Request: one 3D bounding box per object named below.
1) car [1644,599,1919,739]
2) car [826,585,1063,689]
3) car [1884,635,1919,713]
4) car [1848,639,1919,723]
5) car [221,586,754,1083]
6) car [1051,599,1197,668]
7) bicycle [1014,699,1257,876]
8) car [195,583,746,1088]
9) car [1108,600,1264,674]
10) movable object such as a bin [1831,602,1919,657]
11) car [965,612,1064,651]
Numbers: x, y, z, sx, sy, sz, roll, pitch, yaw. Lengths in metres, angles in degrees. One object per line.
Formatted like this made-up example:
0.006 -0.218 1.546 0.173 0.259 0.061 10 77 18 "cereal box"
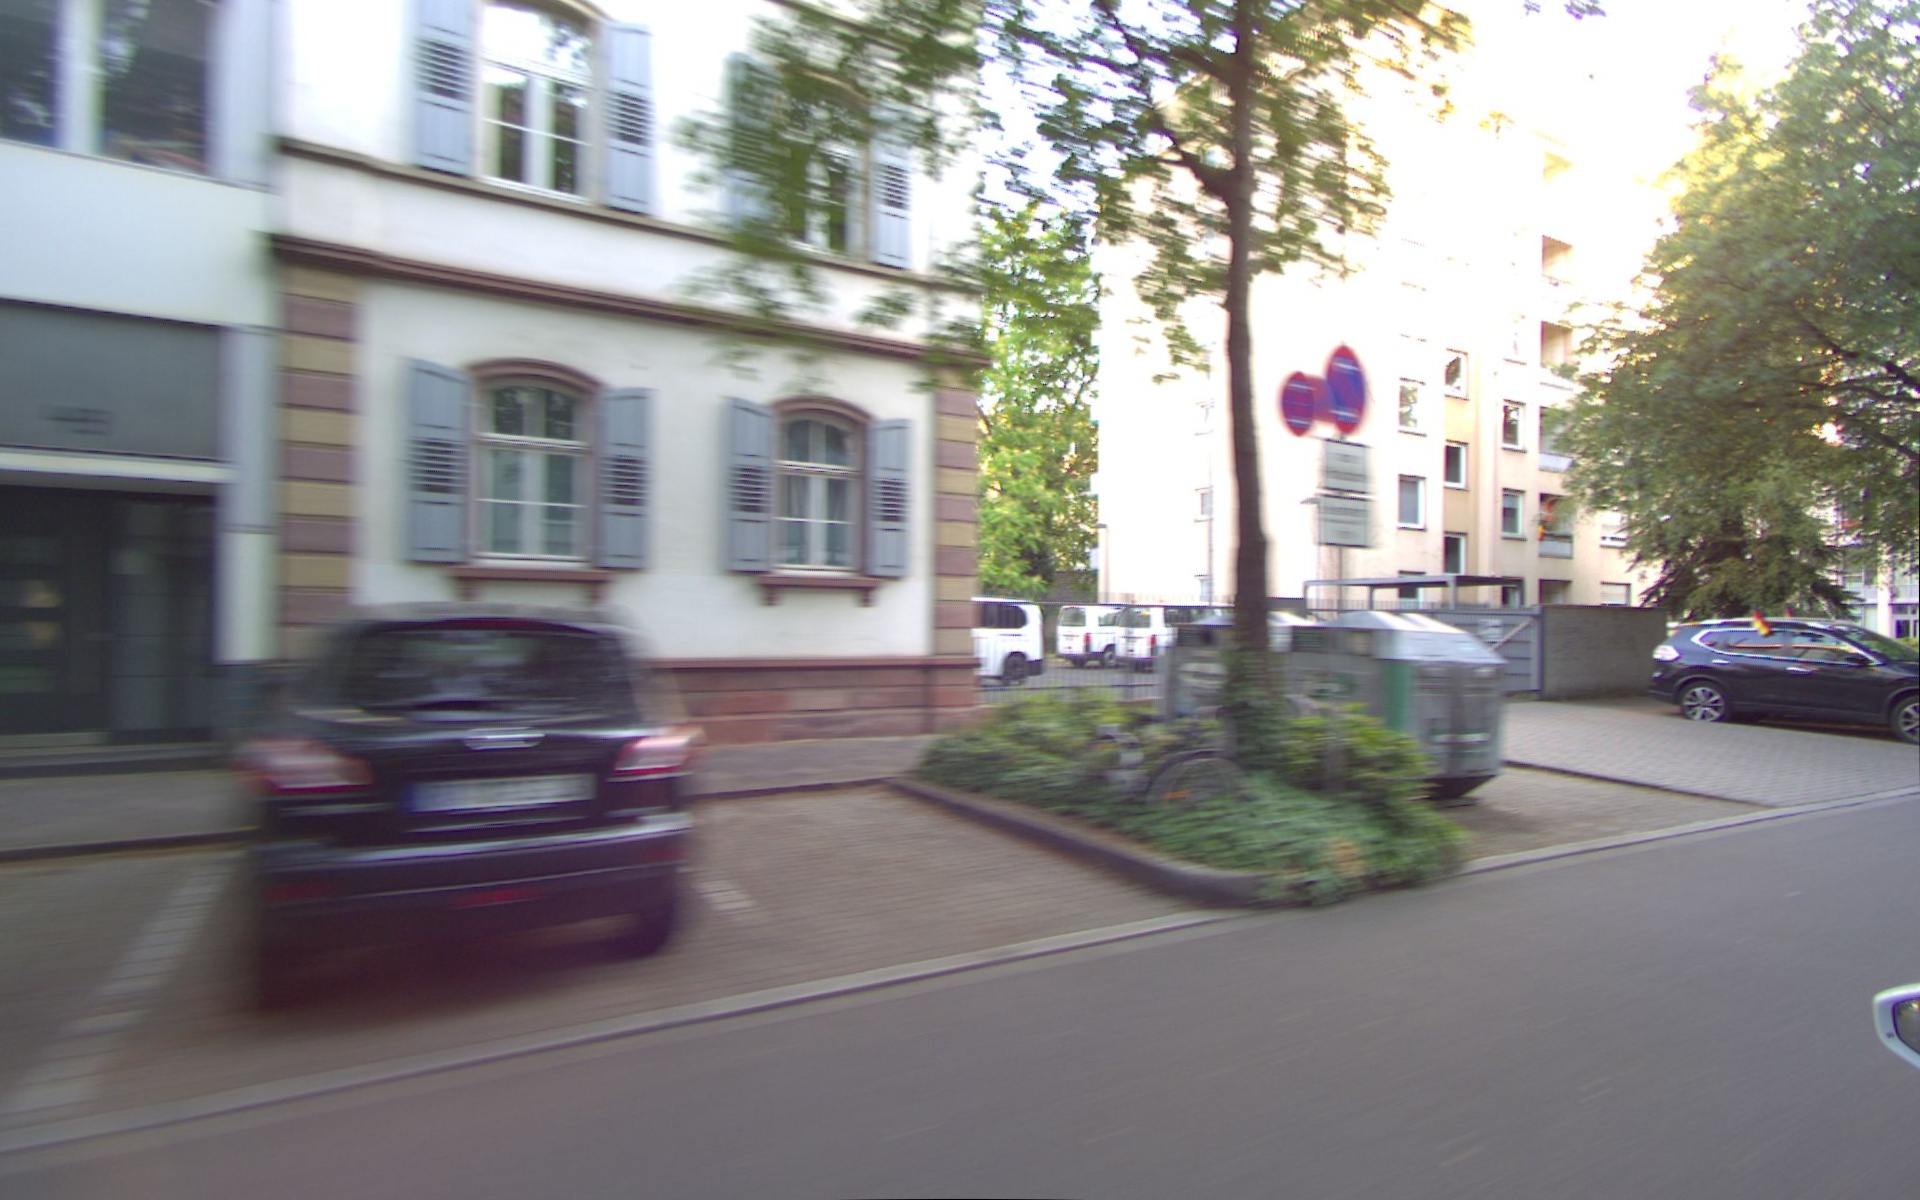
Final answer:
13.440 0.974 15.477 1.976 1.917 4.397 1 -1 -30 "car"
-0.267 0.777 20.070 4.411 1.830 1.773 4 -2 -30 "car"
20.202 1.460 19.235 1.646 1.526 3.387 1 -1 -31 "car"
17.990 1.449 17.574 1.576 1.461 3.387 1 -1 -31 "car"
-2.602 0.789 5.443 1.767 1.613 3.968 1 -1 -30 "car"
5.140 0.987 31.287 4.364 2.022 1.773 0 0 -31 "car"
1.121 1.177 6.616 1.536 0.949 0.482 -1 -2 38 "bicycle"
-2.690 0.787 5.383 1.807 1.609 3.966 1 -1 -31 "car"
6.548 1.000 28.937 4.364 1.982 1.773 0 0 -31 "car"
47.407 1.479 51.495 1.768 2.669 4.108 1 -1 -5 "movable object such as a bin"
2.311 1.313 42.044 3.953 1.550 1.551 1 -1 -30 "car"
